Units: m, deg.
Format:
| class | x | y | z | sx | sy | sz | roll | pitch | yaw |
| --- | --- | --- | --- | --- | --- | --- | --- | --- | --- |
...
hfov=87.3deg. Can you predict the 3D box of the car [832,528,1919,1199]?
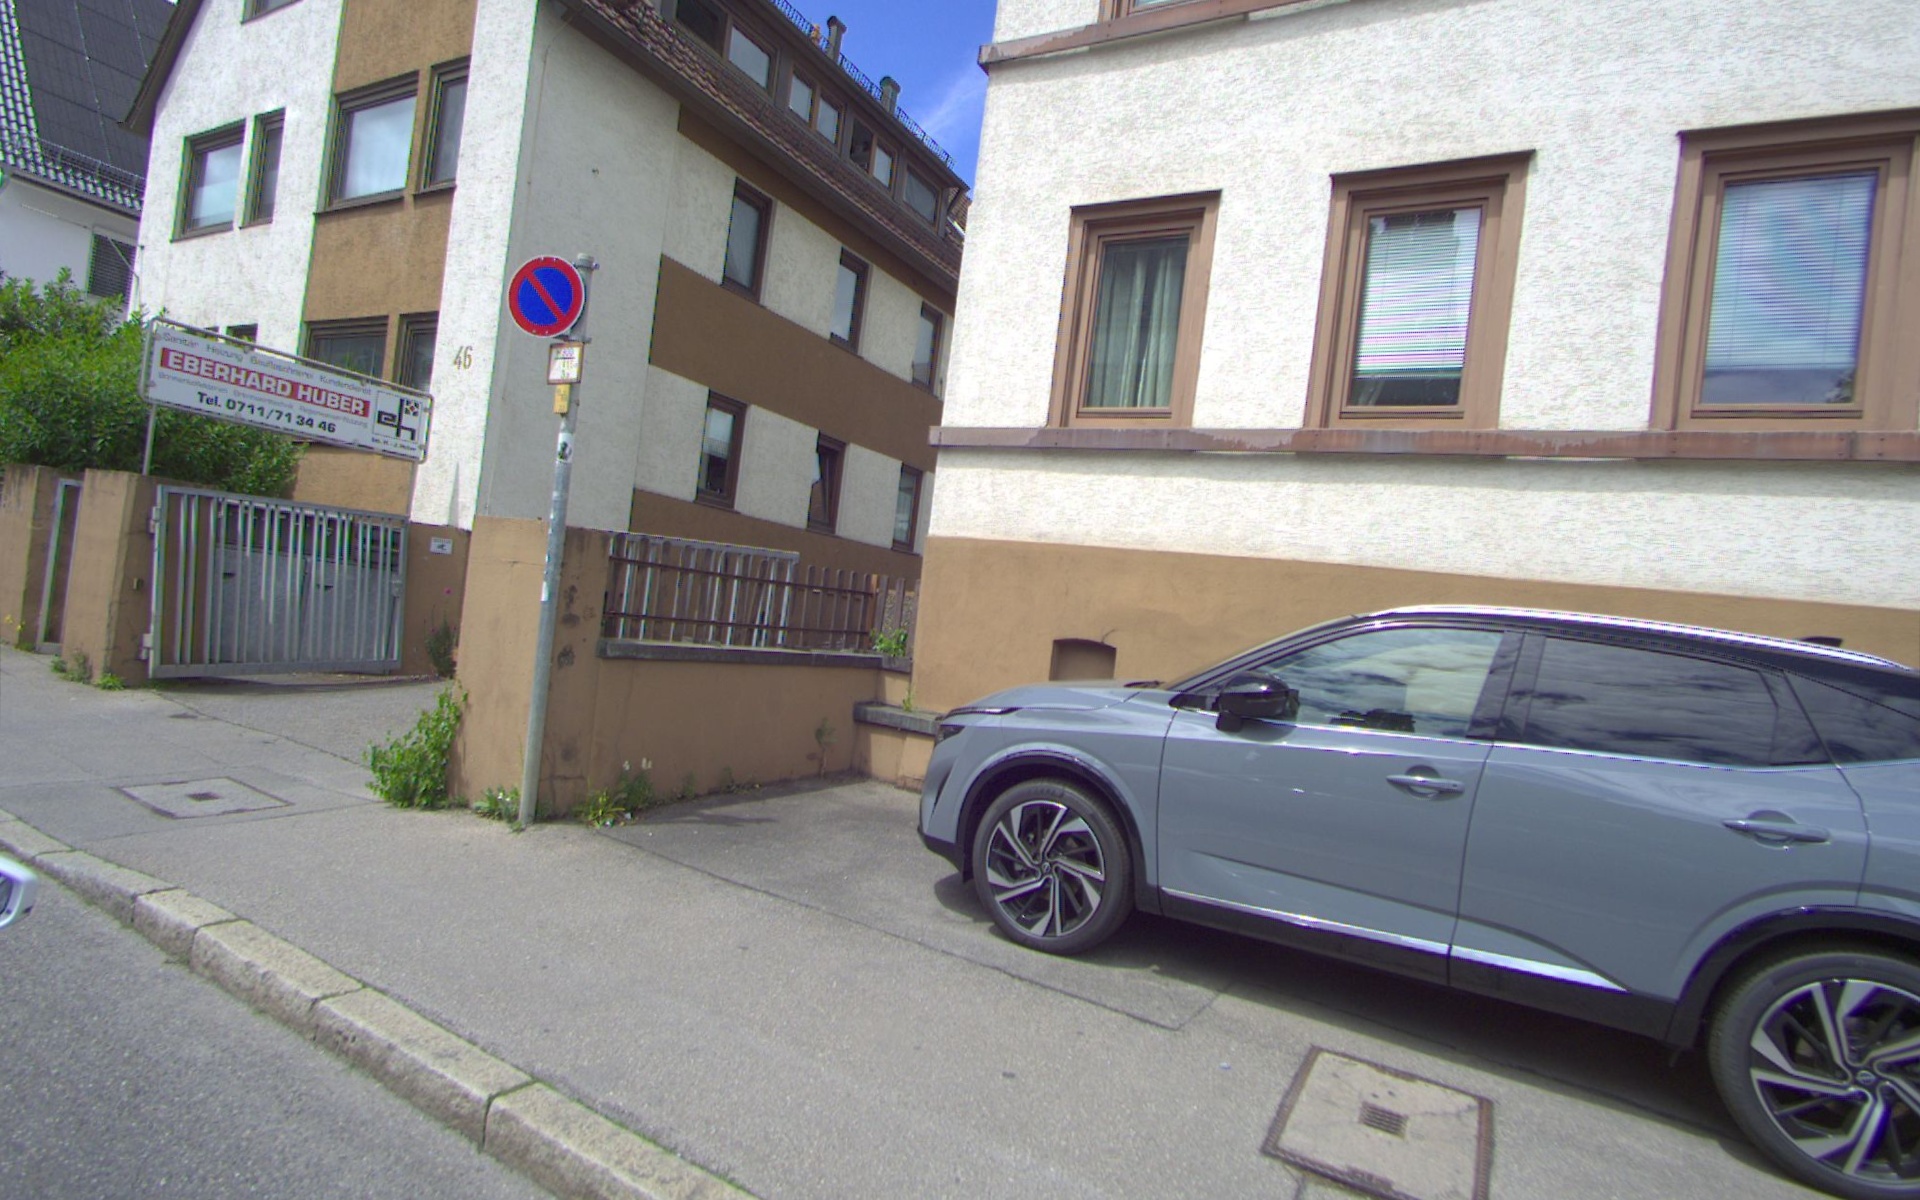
| class | x | y | z | sx | sy | sz | roll | pitch | yaw |
| --- | --- | --- | --- | --- | --- | --- | --- | --- | --- |
| car | 1.897 | 0.787 | 4.266 | 4.508 | 1.632 | 1.863 | 7 | 0 | 30 |
